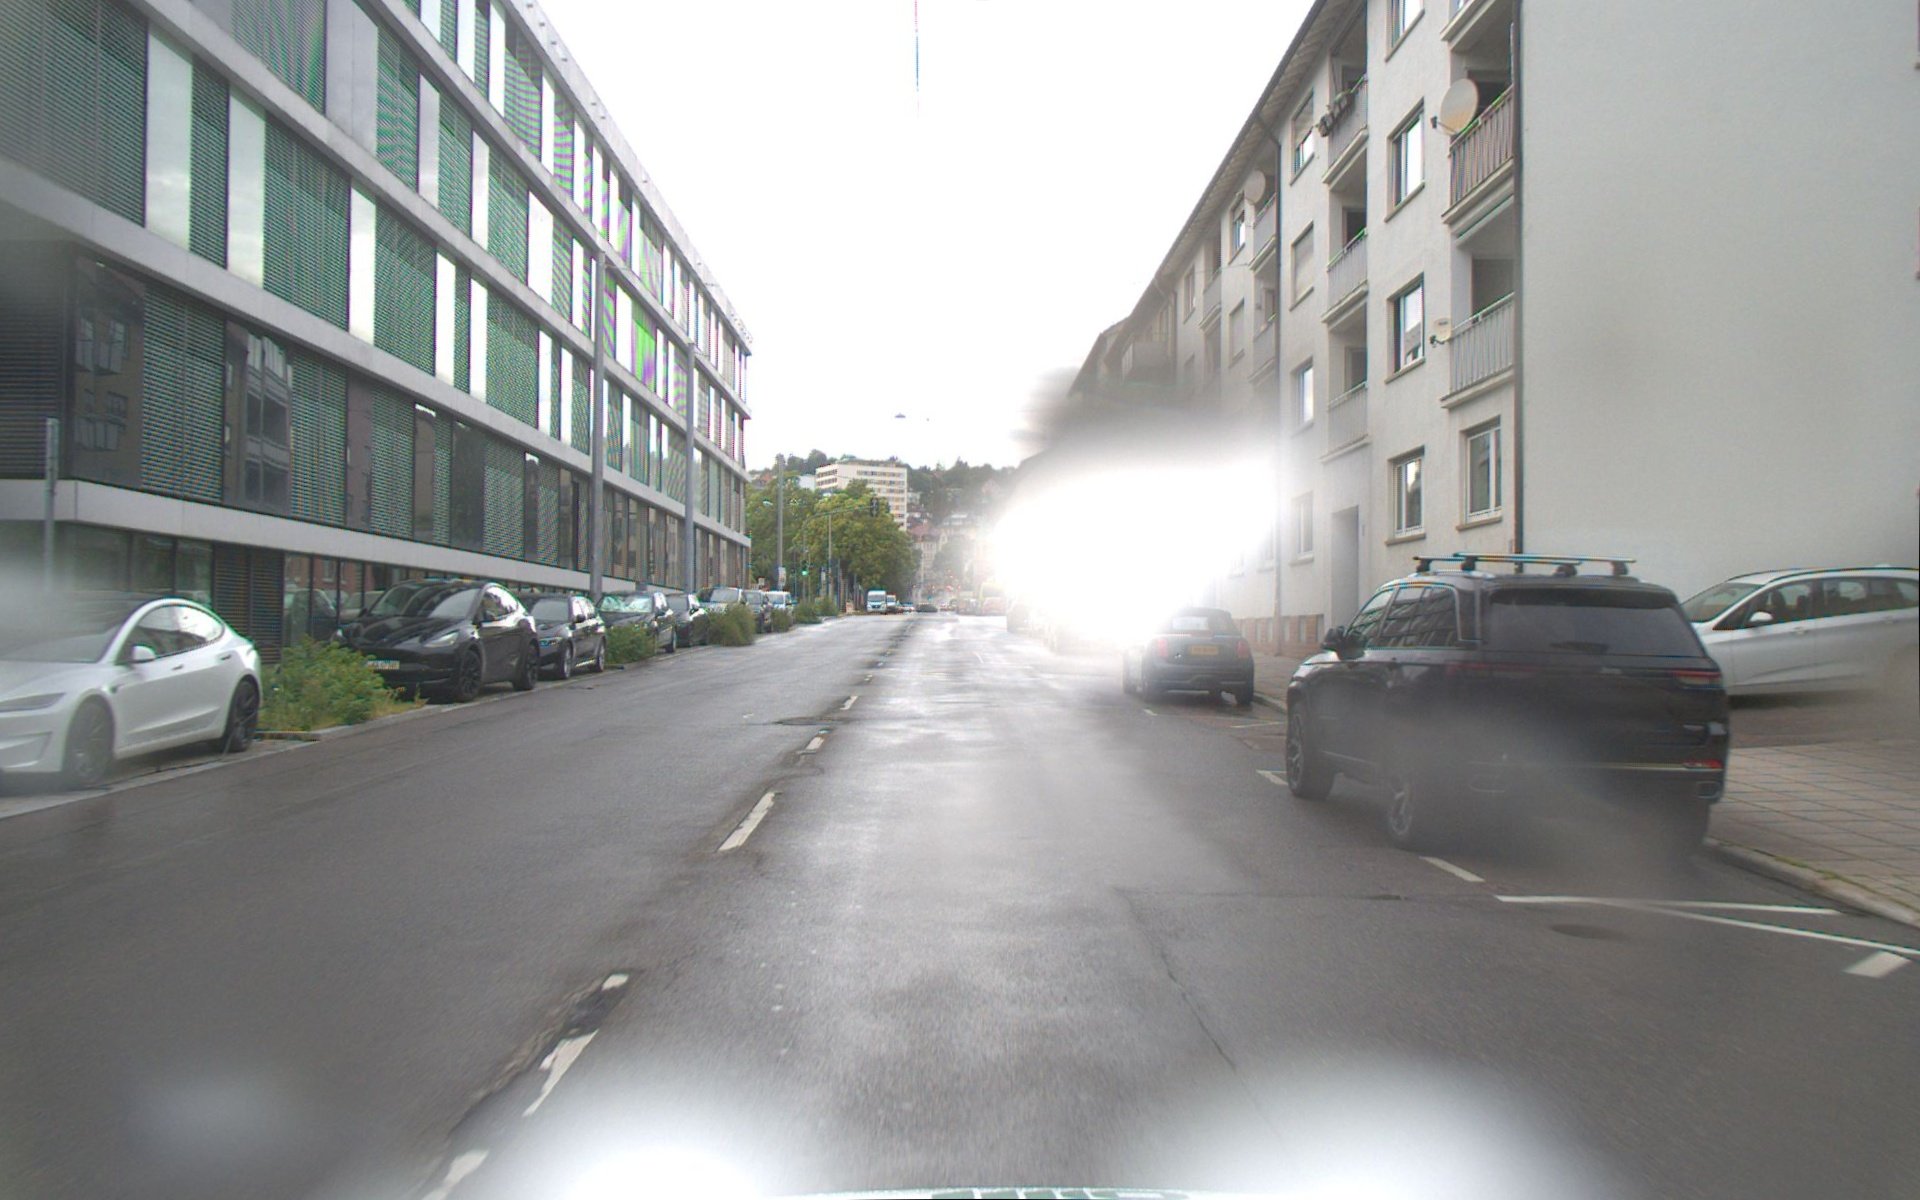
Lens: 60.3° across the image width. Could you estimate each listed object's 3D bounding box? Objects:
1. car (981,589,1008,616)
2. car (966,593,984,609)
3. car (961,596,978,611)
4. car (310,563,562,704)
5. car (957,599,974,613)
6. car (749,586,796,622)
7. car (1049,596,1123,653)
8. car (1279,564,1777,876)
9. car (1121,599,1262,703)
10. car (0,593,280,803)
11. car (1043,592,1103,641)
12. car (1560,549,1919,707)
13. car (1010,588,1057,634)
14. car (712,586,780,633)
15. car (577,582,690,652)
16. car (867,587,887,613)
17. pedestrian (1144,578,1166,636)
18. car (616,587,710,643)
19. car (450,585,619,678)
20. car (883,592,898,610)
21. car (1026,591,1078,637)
[{"bbox_3d":[2.500,0.187,118.603,1.828,1.801,4.190,1,-1,2],"label":"car"},{"bbox_3d":[1.626,0.137,178.326,1.828,1.632,4.190,1,-1,2],"label":"car"},{"bbox_3d":[1.074,0.459,188.636,1.828,1.632,4.190,1,-1,2],"label":"car"},{"bbox_3d":[-7.390,0.452,23.916,1.922,1.781,4.942,1,0,1],"label":"car"},{"bbox_3d":[0.665,0.734,196.780,1.828,1.632,4.190,1,-1,2],"label":"car"},{"bbox_3d":[-8.142,0.151,72.152,1.562,1.485,3.719,1,0,1],"label":"car"},{"bbox_3d":[3.497,0.669,46.425,1.671,1.480,3.983,1,0,-1],"label":"car"},{"bbox_3d":[3.795,0.715,12.082,1.896,1.781,4.795,1,0,-1],"label":"car"},{"bbox_3d":[3.661,0.763,26.731,1.639,1.485,3.763,1,1,-1],"label":"car"},{"bbox_3d":[-7.451,0.682,13.745,1.784,1.443,4.401,1,0,-1],"label":"car"},{"bbox_3d":[3.505,0.498,51.734,1.550,1.438,3.653,1,0,-1],"label":"car"},{"bbox_3d":[10.088,0.325,20.783,4.348,1.742,1.904,-2,0,-2],"label":"car"},{"bbox_3d":[2.956,0.426,66.973,1.621,1.768,4.178,1,0,-1],"label":"car"},{"bbox_3d":[-7.878,0.373,61.238,1.764,1.632,4.235,1,-1,2],"label":"car"},{"bbox_3d":[-7.655,0.396,39.210,1.825,1.515,4.346,1,0,-1],"label":"car"},{"bbox_3d":[-8.756,0.007,174.031,2.063,2.591,4.747,1,-1,-3],"label":"car"},{"bbox_3d":[6.384,0.234,54.289,0.626,1.903,0.538,1,-1,1],"label":"pedestrian"},{"bbox_3d":[-8.106,0.416,45.547,1.800,1.420,4.391,1,0,-1],"label":"car"},{"bbox_3d":[-7.559,0.535,29.864,1.833,1.498,4.740,1,0,-1],"label":"car"},{"bbox_3d":[-8.969,0.121,212.889,1.830,2.179,4.354,1,-1,-4],"label":"car"},{"bbox_3d":[3.327,0.515,60.332,1.602,1.598,3.710,1,0,-1],"label":"car"}]
